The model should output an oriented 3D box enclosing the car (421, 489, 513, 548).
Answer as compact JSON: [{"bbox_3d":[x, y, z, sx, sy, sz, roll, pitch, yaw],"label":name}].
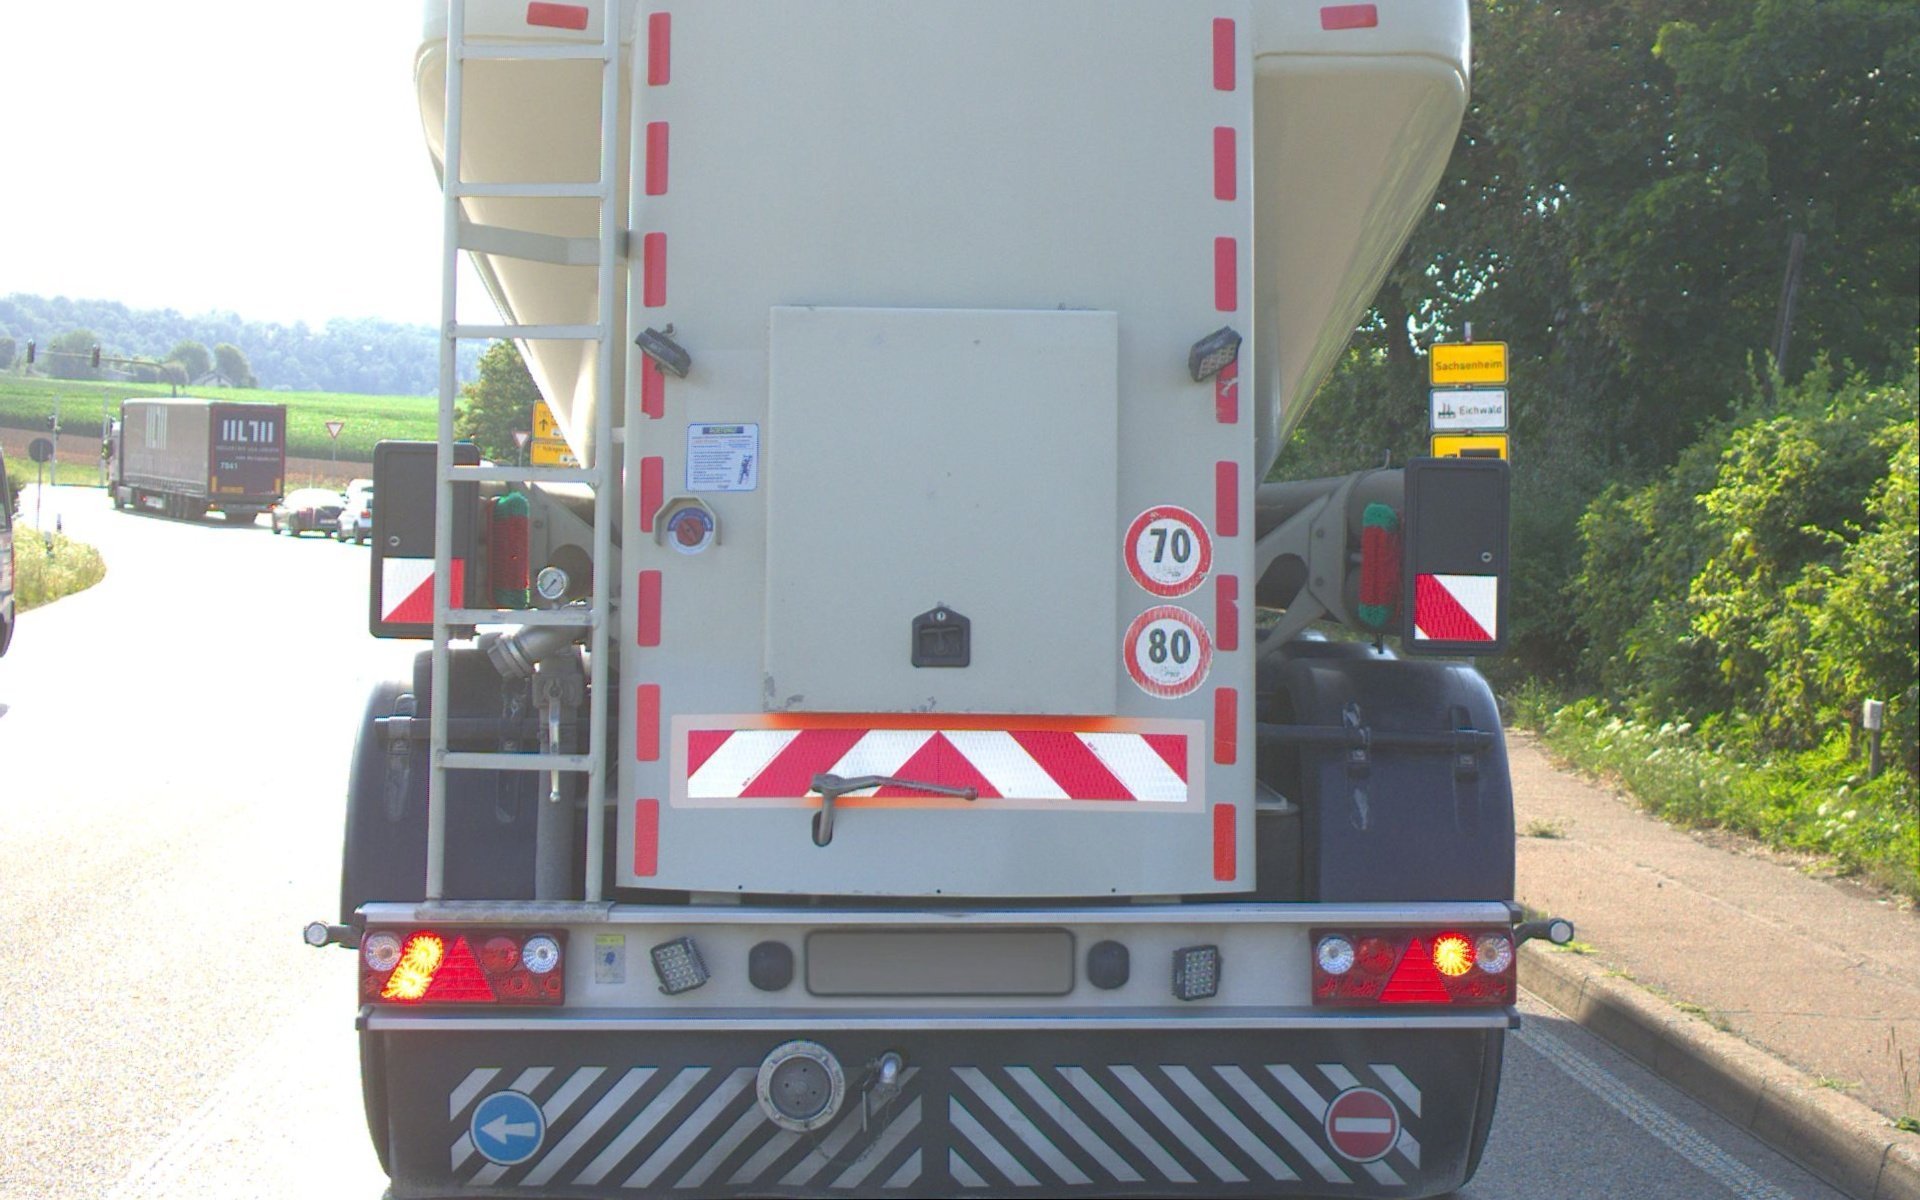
[{"bbox_3d":[-11.886,-1.980,82.707,1.580,1.336,3.427,2,1,-18],"label":"car"}]

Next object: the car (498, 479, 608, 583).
[{"bbox_3d":[-8.146,-1.388,68.560,1.861,2.007,3.720,0,2,-11],"label":"car"}]

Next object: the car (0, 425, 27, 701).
[{"bbox_3d":[-8.273,-0.271,25.008,1.998,2.129,4.780,1,1,-5],"label":"car"}]

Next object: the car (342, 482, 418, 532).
[{"bbox_3d":[-16.323,-2.621,96.692,1.580,1.336,3.427,2,1,-18],"label":"car"}]

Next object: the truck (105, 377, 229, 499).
[{"bbox_3d":[-29.614,-5.997,128.168,3.375,4.335,5.707,1,1,-24],"label":"truck"}]

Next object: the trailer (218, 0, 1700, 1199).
[{"bbox_3d":[-0.228,-0.868,11.749,2.909,3.992,9.931,1,1,-3],"label":"trailer"}]

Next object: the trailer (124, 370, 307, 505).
[{"bbox_3d":[-26.268,-5.642,120.617,3.375,4.335,14.298,1,1,-24],"label":"trailer"}]

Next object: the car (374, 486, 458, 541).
[{"bbox_3d":[-14.070,-2.238,88.820,1.580,1.336,3.427,2,1,-18],"label":"car"}]

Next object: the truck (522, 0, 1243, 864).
[{"bbox_3d":[-0.422,-0.967,16.071,2.909,3.992,4.060,1,1,-3],"label":"truck"}]

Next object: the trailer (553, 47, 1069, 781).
[{"bbox_3d":[-0.980,-1.284,27.723,2.955,4.300,14.176,2,1,-1],"label":"trailer"}]

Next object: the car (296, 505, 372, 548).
[{"bbox_3d":[-18.824,-2.213,103.292,1.769,1.201,3.427,2,1,-18],"label":"car"}]

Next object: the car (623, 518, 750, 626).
[{"bbox_3d":[-3.641,-0.400,45.915,1.580,1.336,3.426,2,1,-4],"label":"car"}]
